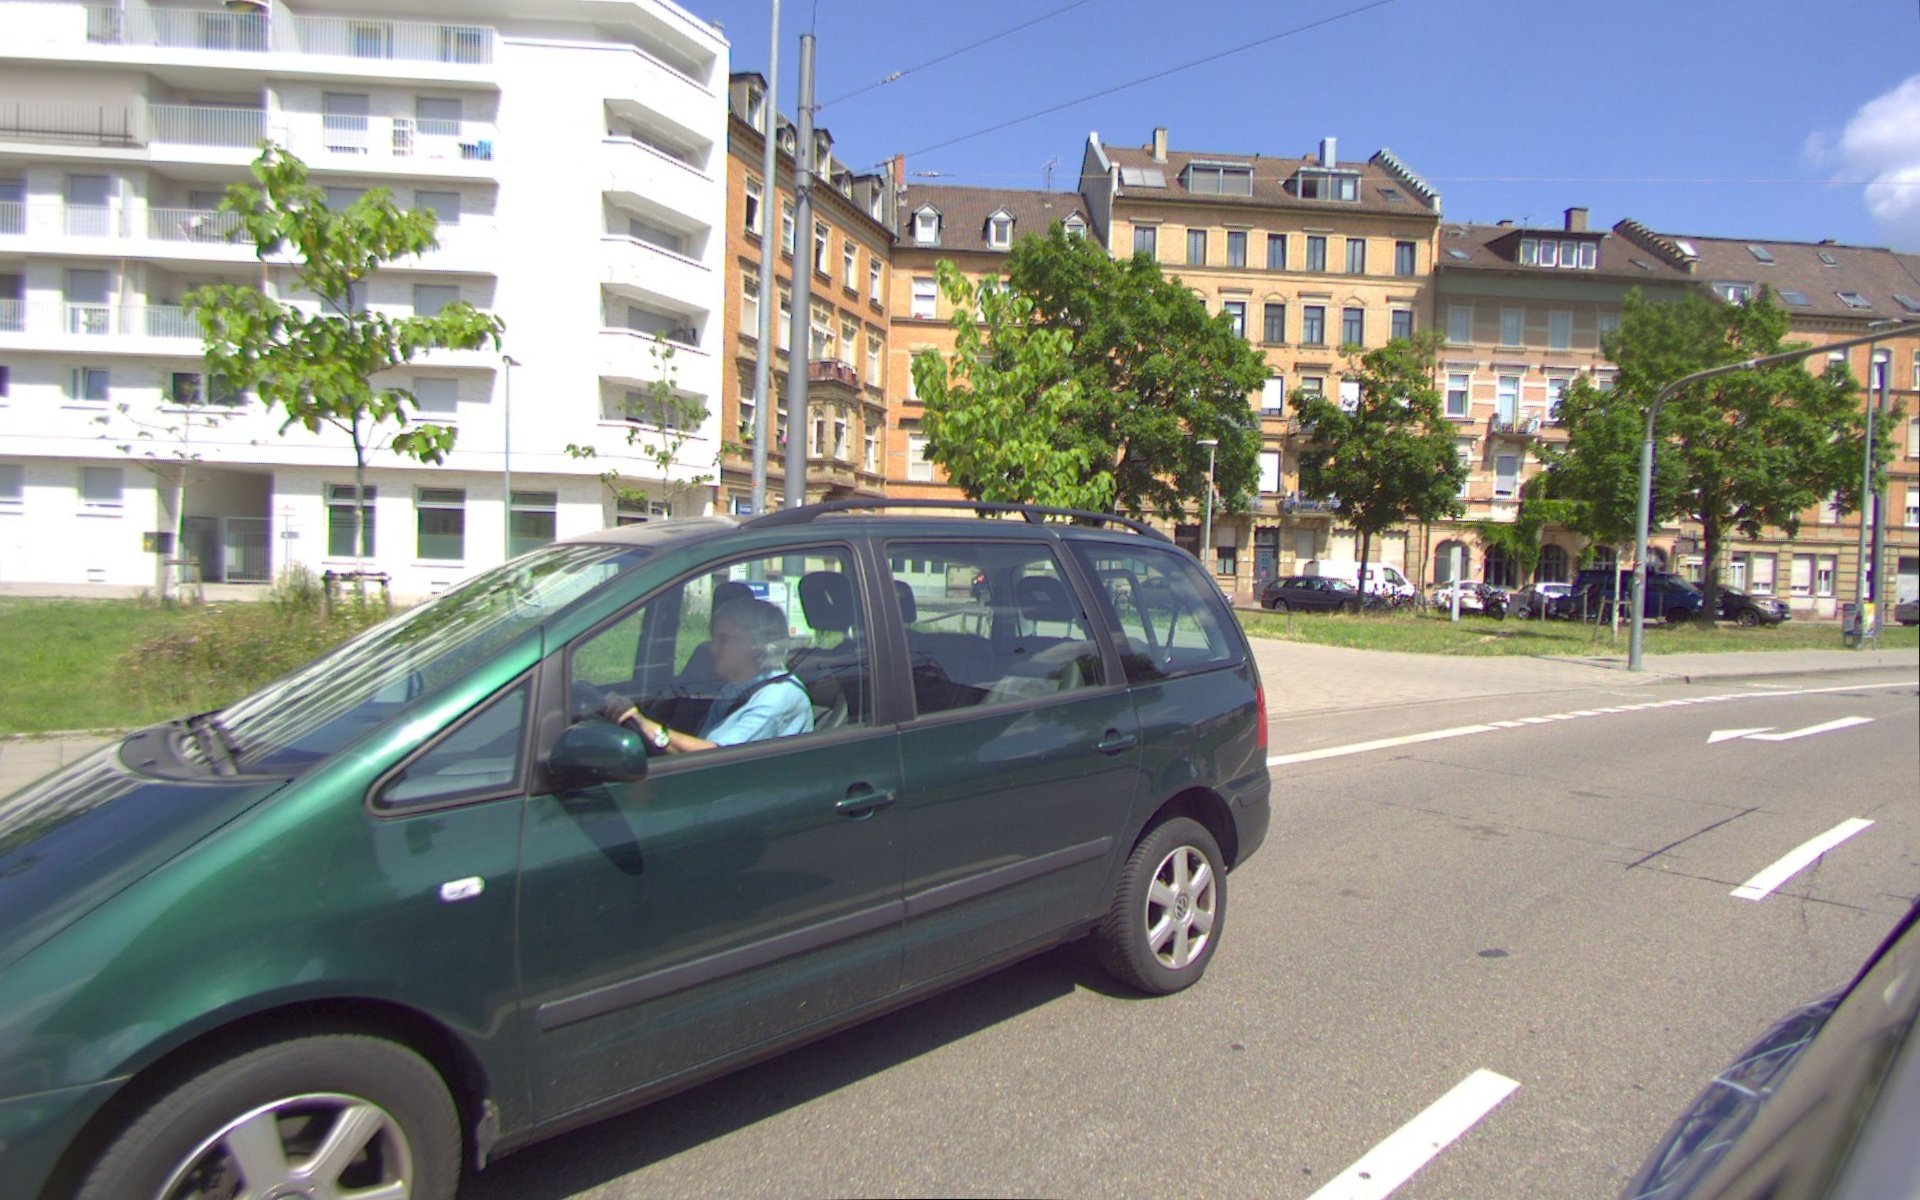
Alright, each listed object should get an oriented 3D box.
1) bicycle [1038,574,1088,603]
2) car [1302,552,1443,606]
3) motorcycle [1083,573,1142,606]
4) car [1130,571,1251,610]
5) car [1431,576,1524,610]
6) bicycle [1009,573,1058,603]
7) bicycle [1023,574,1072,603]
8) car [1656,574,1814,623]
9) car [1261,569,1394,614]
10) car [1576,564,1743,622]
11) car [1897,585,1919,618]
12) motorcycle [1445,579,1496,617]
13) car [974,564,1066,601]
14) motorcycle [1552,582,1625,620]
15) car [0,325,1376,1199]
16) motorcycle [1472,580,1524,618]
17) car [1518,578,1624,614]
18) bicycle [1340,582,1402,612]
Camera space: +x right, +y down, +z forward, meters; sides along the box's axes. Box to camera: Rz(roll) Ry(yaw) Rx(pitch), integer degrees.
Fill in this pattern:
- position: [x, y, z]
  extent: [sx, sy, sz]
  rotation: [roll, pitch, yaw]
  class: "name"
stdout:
- position: [3.619, -0.409, 35.677]
  extent: [0.532, 0.981, 2.395]
  rotation: [1, 0, -26]
  class: "bicycle"
- position: [18.181, -0.910, 44.775]
  extent: [5.288, 2.206, 2.119]
  rotation: [1, 0, -2]
  class: "car"
- position: [5.353, -0.375, 35.739]
  extent: [0.796, 1.139, 2.395]
  rotation: [1, 0, -26]
  class: "motorcycle"
- position: [7.948, -0.349, 35.274]
  extent: [1.825, 1.260, 4.171]
  rotation: [1, 1, -27]
  class: "car"
- position: [23.094, -0.322, 45.261]
  extent: [3.286, 1.420, 1.569]
  rotation: [2, 1, 0]
  class: "car"
- position: [2.537, -0.425, 35.128]
  extent: [0.532, 0.981, 2.395]
  rotation: [1, 0, -26]
  class: "bicycle"
- position: [3.033, -0.417, 35.389]
  extent: [0.532, 0.981, 2.395]
  rotation: [1, 0, -26]
  class: "bicycle"
- position: [28.318, -0.079, 37.111]
  extent: [1.878, 1.677, 4.180]
  rotation: [1, 1, -29]
  class: "car"
- position: [13.082, -0.334, 36.232]
  extent: [1.770, 1.445, 4.263]
  rotation: [1, 2, -32]
  class: "car"
- position: [25.375, -0.273, 36.875]
  extent: [1.879, 1.951, 4.632]
  rotation: [1, 1, -33]
  class: "car"
- position: [46.081, 0.127, 46.644]
  extent: [4.144, 1.510, 1.839]
  rotation: [1, 0, -3]
  class: "car"
- position: [17.018, -0.086, 33.768]
  extent: [0.627, 1.181, 1.791]
  rotation: [1, 1, -5]
  class: "motorcycle"
- position: [2.581, -0.748, 43.883]
  extent: [3.778, 1.510, 1.665]
  rotation: [1, 0, -3]
  class: "car"
- position: [20.585, 0.021, 33.184]
  extent: [1.875, 1.181, 0.638]
  rotation: [2, 1, 10]
  class: "motorcycle"
- position: [-0.511, 0.462, 3.663]
  extent: [4.946, 1.778, 1.821]
  rotation: [0, 1, -43]
  class: "car"
- position: [17.952, -0.054, 33.825]
  extent: [0.627, 1.181, 1.791]
  rotation: [1, 1, -5]
  class: "motorcycle"
- position: [27.495, -0.198, 45.613]
  extent: [3.778, 1.510, 1.665]
  rotation: [1, 0, -3]
  class: "car"
- position: [13.337, -0.103, 32.852]
  extent: [1.784, 0.913, 0.544]
  rotation: [1, 0, -7]
  class: "bicycle"
